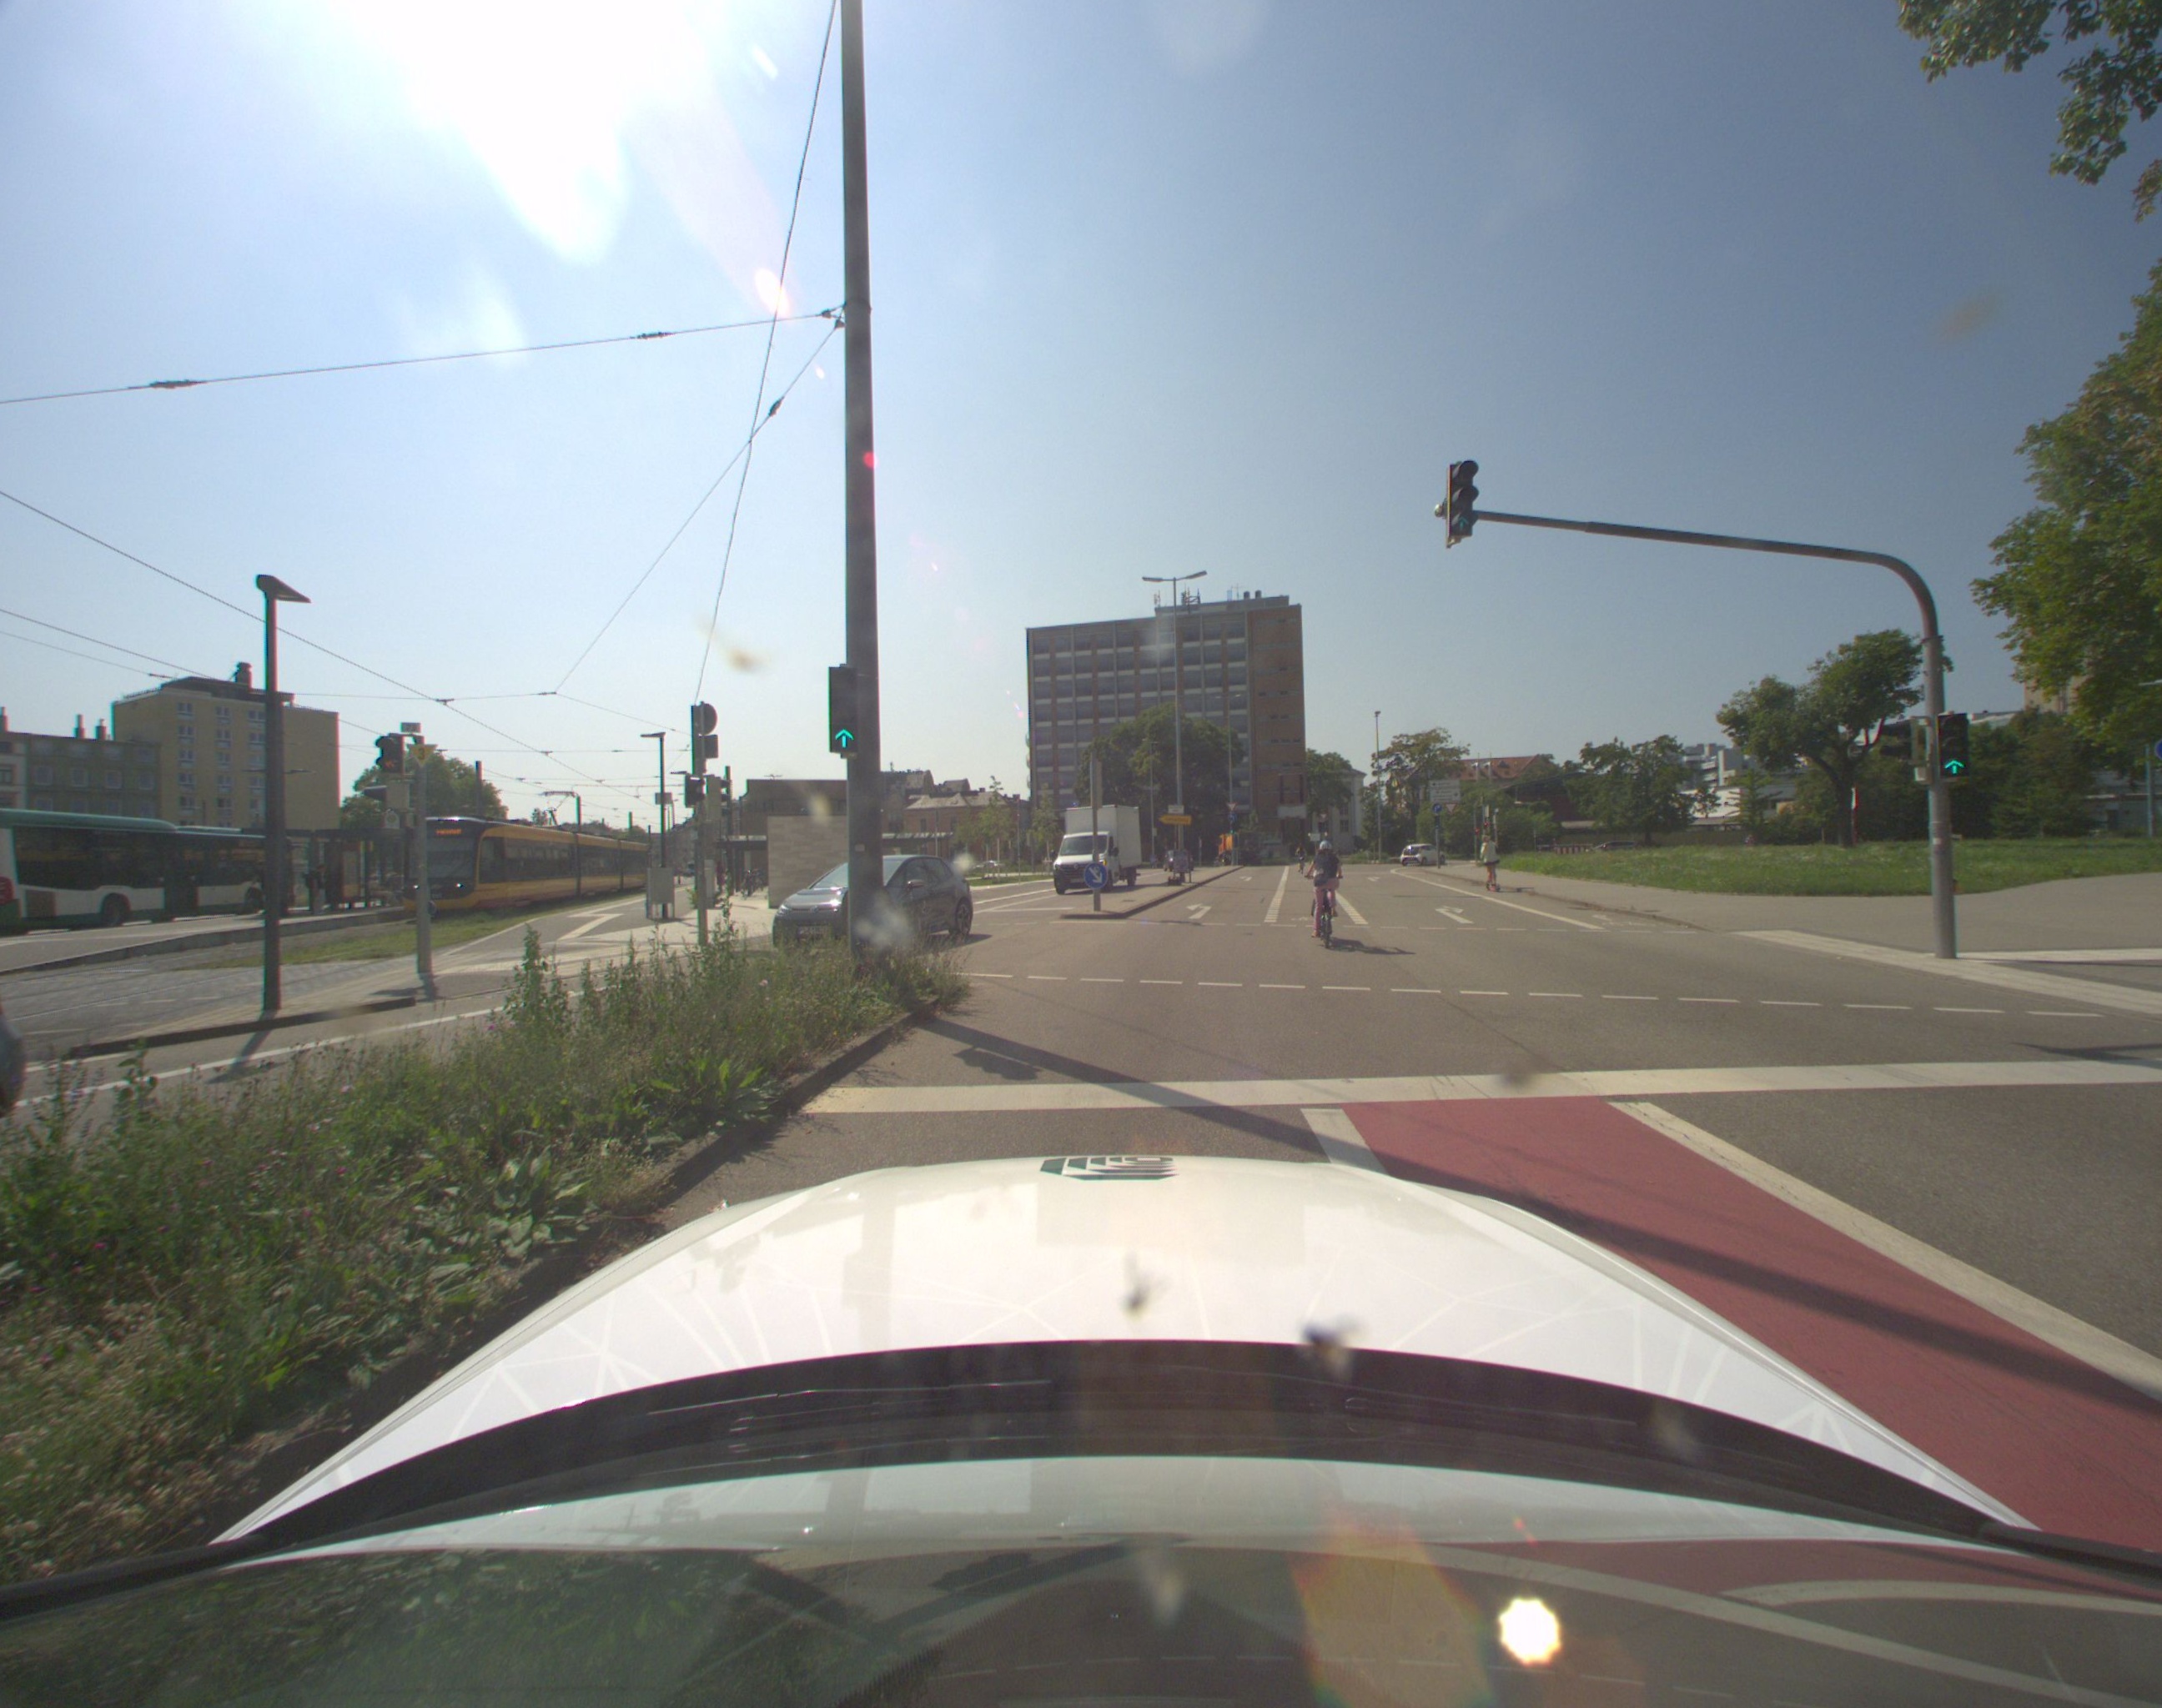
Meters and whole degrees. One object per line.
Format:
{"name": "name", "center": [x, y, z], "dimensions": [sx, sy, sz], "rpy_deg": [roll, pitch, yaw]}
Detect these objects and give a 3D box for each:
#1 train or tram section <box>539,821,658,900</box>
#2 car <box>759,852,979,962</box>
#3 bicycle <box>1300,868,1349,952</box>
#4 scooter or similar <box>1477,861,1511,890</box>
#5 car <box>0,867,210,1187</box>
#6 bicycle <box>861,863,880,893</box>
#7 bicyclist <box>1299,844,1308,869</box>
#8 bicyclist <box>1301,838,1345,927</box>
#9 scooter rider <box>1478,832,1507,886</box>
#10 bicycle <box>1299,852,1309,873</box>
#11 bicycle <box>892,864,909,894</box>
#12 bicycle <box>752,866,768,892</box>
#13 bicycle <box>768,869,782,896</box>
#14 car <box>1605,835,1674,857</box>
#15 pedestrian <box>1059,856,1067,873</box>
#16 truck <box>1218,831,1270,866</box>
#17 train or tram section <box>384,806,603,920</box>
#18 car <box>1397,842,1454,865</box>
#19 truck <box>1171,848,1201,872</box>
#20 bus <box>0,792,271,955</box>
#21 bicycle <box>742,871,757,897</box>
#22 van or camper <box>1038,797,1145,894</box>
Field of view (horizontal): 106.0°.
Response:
{"name": "train or tram section", "center": [-29.781, 0.457, 51.441], "dimensions": [2.896, 4.068, 19.012], "rpy_deg": [-1, 0, -20]}
{"name": "car", "center": [-3.326, 0.774, 13.726], "dimensions": [1.684, 1.530, 4.200], "rpy_deg": [-2, 0, 15]}
{"name": "bicycle", "center": [3.783, 0.831, 12.722], "dimensions": [0.600, 1.163, 1.817], "rpy_deg": [-2, 0, 13]}
{"name": "scooter or similar", "center": [13.791, 0.711, 27.211], "dimensions": [0.766, 0.926, 1.628], "rpy_deg": [-1, 0, 19]}
{"name": "car", "center": [-6.357, 0.881, 2.779], "dimensions": [1.639, 1.530, 4.340], "rpy_deg": [-2, 0, 13]}
{"name": "bicycle", "center": [-9.217, 1.031, 35.652], "dimensions": [0.604, 1.210, 1.805], "rpy_deg": [-2, 0, -9]}
{"name": "bicyclist", "center": [12.555, 0.147, 45.951], "dimensions": [0.446, 1.421, 0.497], "rpy_deg": [-2, 0, 13]}
{"name": "bicyclist", "center": [3.758, 0.431, 12.684], "dimensions": [0.598, 1.335, 0.662], "rpy_deg": [-2, 0, 14]}
{"name": "scooter rider", "center": [13.802, 0.159, 27.307], "dimensions": [0.756, 1.775, 0.558], "rpy_deg": [-2, 0, 18]}
{"name": "bicycle", "center": [12.534, 0.475, 45.839], "dimensions": [0.441, 1.116, 1.451], "rpy_deg": [-2, 0, 14]}
{"name": "bicycle", "center": [-7.911, 1.079, 35.753], "dimensions": [0.604, 1.210, 1.805], "rpy_deg": [-2, 0, -9]}
{"name": "bicycle", "center": [-16.179, 1.263, 41.108], "dimensions": [0.607, 1.253, 2.605], "rpy_deg": [-1, -1, -19]}
{"name": "bicycle", "center": [-13.114, 1.214, 34.903], "dimensions": [0.465, 1.100, 1.413], "rpy_deg": [-1, -1, -18]}
{"name": "car", "center": [43.004, -0.599, 62.810], "dimensions": [3.956, 1.565, 1.831], "rpy_deg": [-2, 0, 17]}
{"name": "pedestrian", "center": [-1.689, 0.986, 75.645], "dimensions": [0.533, 1.552, 0.412], "rpy_deg": [-2, 0, -31]}
{"name": "truck", "center": [14.424, -0.451, 72.568], "dimensions": [2.694, 2.990, 5.950], "rpy_deg": [-1, 0, -8]}
{"name": "train or tram section", "center": [-23.489, 0.365, 34.191], "dimensions": [2.866, 3.548, 17.618], "rpy_deg": [-1, 0, -20]}
{"name": "car", "center": [23.739, -0.040, 56.062], "dimensions": [4.019, 1.391, 1.827], "rpy_deg": [-2, 0, -38]}
{"name": "truck", "center": [7.070, 0.351, 54.467], "dimensions": [1.544, 1.504, 3.634], "rpy_deg": [-2, 0, 13]}
{"name": "bus", "center": [-28.105, 0.533, 23.246], "dimensions": [2.969, 3.775, 10.521], "rpy_deg": [-1, 0, -21]}
{"name": "bicycle", "center": [-13.713, 1.230, 33.737], "dimensions": [0.465, 1.032, 1.538], "rpy_deg": [-1, -1, -18]}
{"name": "van or camper", "center": [0.609, -0.321, 31.999], "dimensions": [2.382, 3.306, 7.219], "rpy_deg": [-2, 0, 15]}
